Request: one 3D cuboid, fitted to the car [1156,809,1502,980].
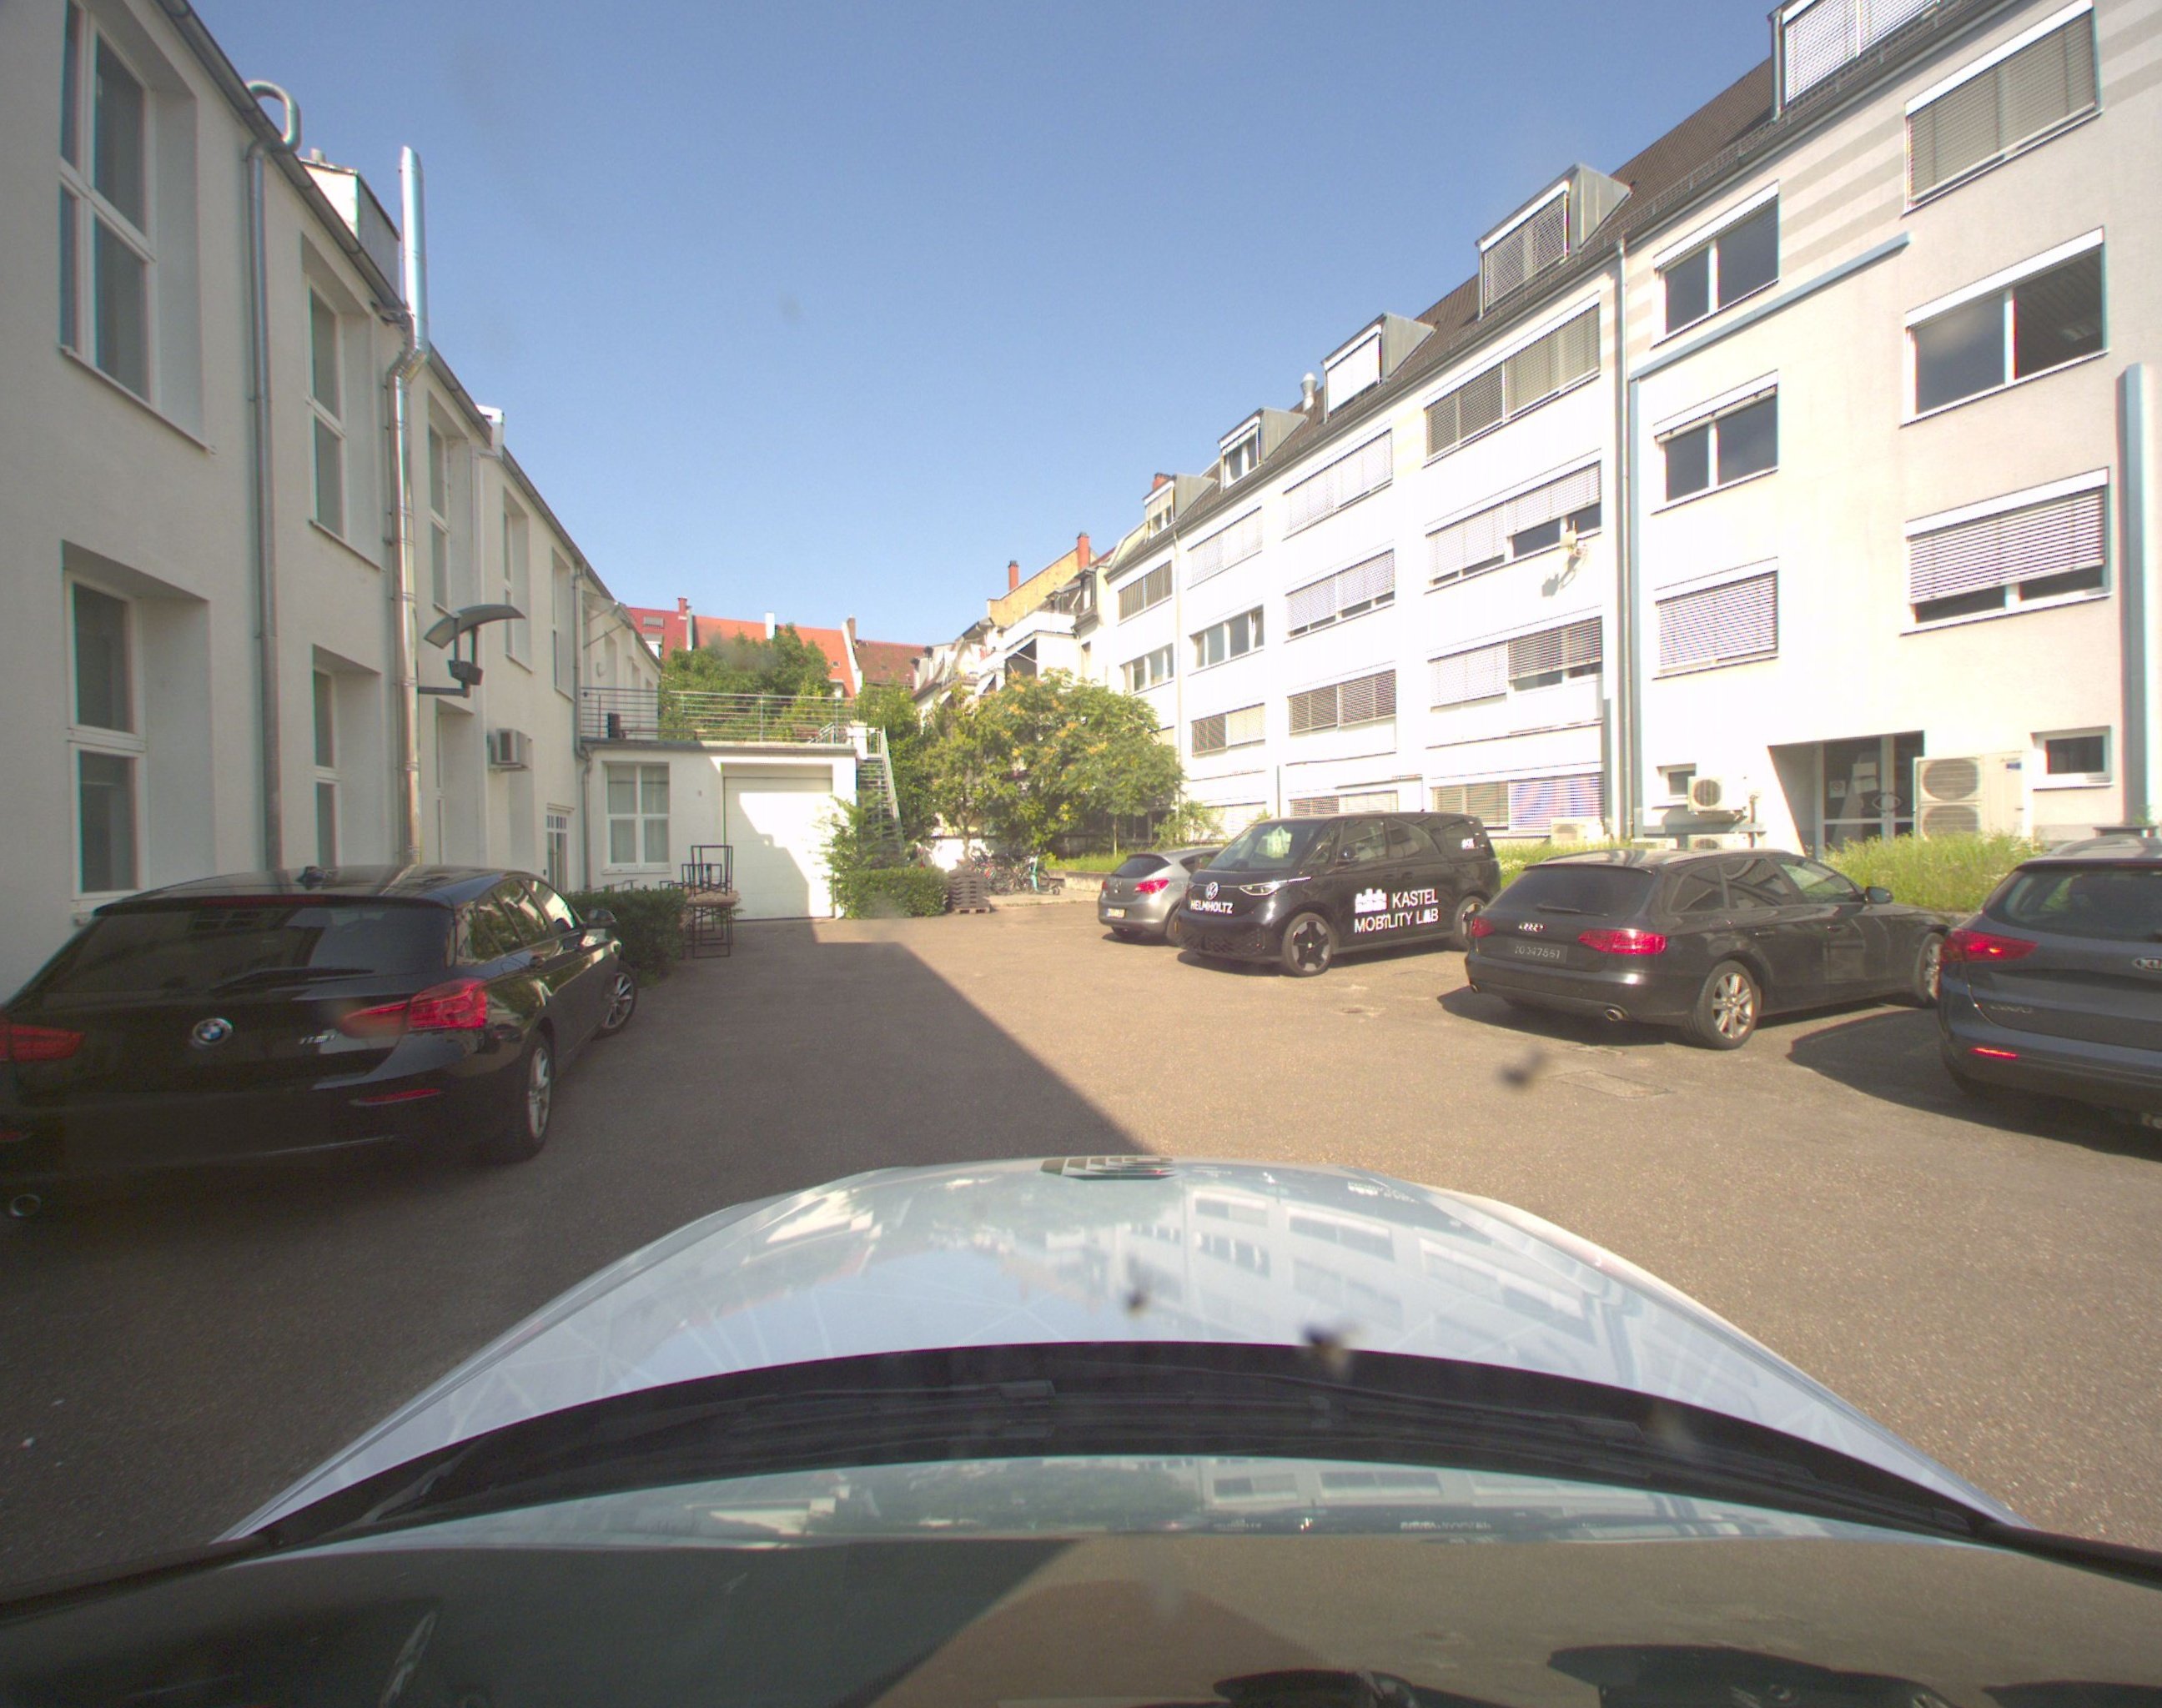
[{"bbox_3d":[3.339,0.375,10.777,4.362,1.858,1.897,-2,1,-30],"label":"car"}]

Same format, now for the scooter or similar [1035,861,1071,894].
[{"bbox_3d":[-0.794,0.658,23.133,0.986,0.924,0.362,0,0,32],"label":"scooter or similar"}]

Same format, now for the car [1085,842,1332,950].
[{"bbox_3d":[2.154,0.579,13.370,3.924,1.466,1.646,-2,1,-33],"label":"car"}]

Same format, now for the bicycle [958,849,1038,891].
[{"bbox_3d":[-2.569,0.478,25.205,2.419,1.246,0.523,0,0,-20],"label":"bicycle"}]

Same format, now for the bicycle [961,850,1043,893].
[{"bbox_3d":[-2.377,0.501,24.641,2.419,1.246,0.523,0,0,-20],"label":"bicycle"}]

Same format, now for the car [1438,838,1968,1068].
[{"bbox_3d":[5.313,0.627,6.949,4.249,1.437,1.678,-2,1,-22],"label":"car"}]

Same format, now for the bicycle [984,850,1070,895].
[{"bbox_3d":[-1.536,0.514,23.331,2.419,1.246,0.523,0,0,-20],"label":"bicycle"}]

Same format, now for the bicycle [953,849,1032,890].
[{"bbox_3d":[-2.800,0.478,25.838,2.419,1.246,0.523,0,0,-20],"label":"bicycle"}]

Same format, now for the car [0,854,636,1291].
[{"bbox_3d":[-3.931,0.737,4.848,1.800,1.428,4.105,0,1,-22],"label":"car"}]

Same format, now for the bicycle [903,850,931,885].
[{"bbox_3d":[-5.744,0.457,28.579,0.486,1.143,1.995,-1,2,2],"label":"bicycle"}]

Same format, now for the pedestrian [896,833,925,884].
[{"bbox_3d":[-5.972,0.165,28.547,0.855,1.771,0.611,0,0,1],"label":"pedestrian"}]

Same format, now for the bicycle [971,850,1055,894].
[{"bbox_3d":[-1.990,0.507,23.884,2.419,1.246,0.523,0,0,-20],"label":"bicycle"}]

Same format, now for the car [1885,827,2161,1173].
[{"bbox_3d":[6.512,0.598,4.442,4.066,1.478,1.728,-2,1,-25],"label":"car"}]
